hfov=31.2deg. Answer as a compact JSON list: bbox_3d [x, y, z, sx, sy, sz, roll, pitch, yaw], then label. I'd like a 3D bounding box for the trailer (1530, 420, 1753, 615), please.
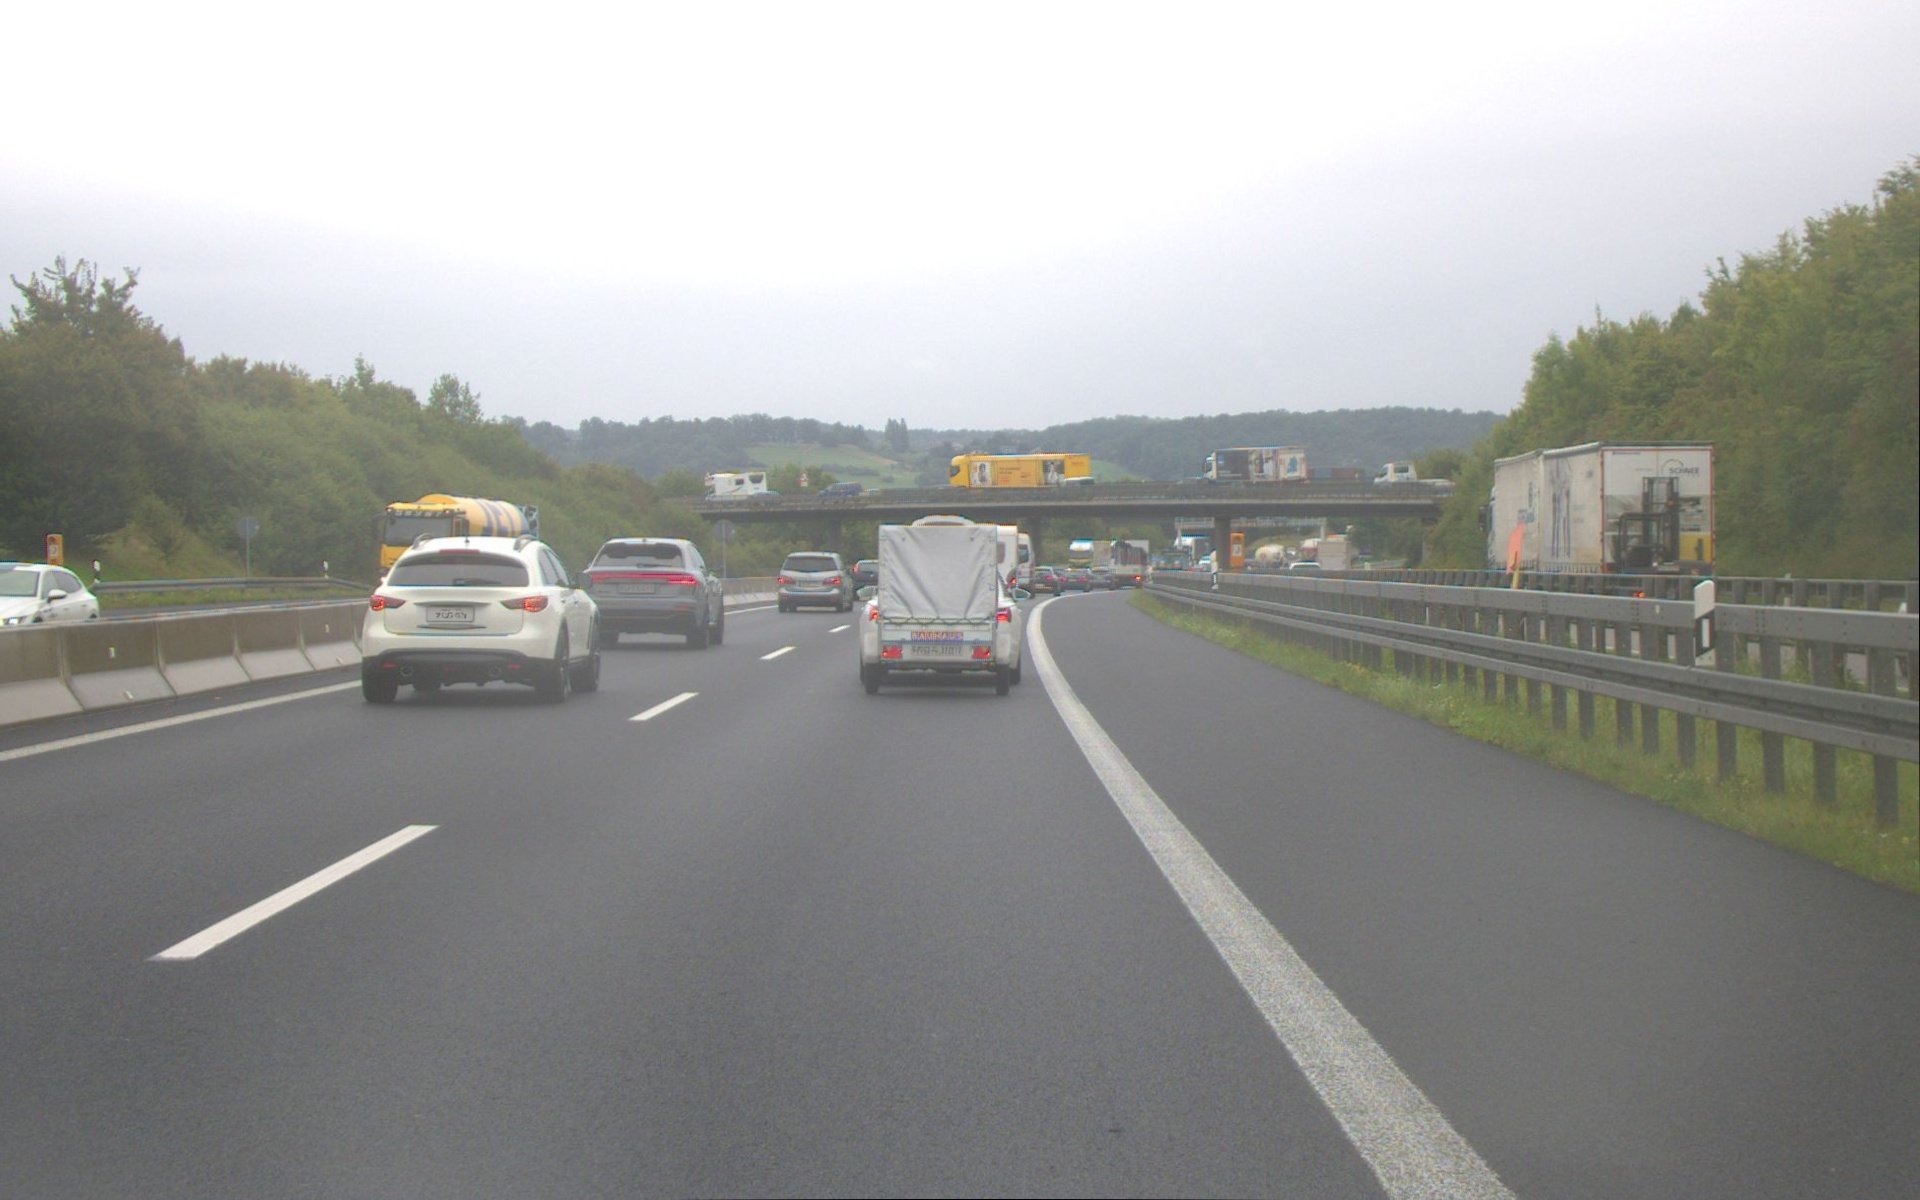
[{"bbox_3d":[15.843,-1.910,80.783,3.437,4.274,10.454,0,1,2],"label":"trailer"}]

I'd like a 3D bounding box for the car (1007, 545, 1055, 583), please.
[{"bbox_3d":[3.307,-1.685,161.095,1.993,1.744,4.000,1,1,-2],"label":"car"}]

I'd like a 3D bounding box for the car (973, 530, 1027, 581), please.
[{"bbox_3d":[1.639,-1.834,142.113,1.993,2.029,4.152,1,1,-2],"label":"car"}]

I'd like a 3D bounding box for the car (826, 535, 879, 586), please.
[{"bbox_3d":[-3.842,-1.429,123.454,1.841,1.813,4.000,0,1,-1],"label":"car"}]

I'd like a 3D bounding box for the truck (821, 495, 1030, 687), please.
[{"bbox_3d":[-0.285,-0.164,39.097,2.019,1.979,7.212,0,1,2],"label":"truck"}]

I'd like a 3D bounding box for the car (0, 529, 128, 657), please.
[{"bbox_3d":[-13.398,-0.140,47.995,2.180,1.690,4.864,0,1,3],"label":"car"}]

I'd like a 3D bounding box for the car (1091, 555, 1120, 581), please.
[{"bbox_3d":[10.188,-2.230,240.650,1.994,1.744,4.000,1,1,3],"label":"car"}]

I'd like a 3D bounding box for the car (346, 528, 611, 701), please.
[{"bbox_3d":[-4.783,0.105,34.781,1.976,1.633,4.501,0,1,1],"label":"car"}]

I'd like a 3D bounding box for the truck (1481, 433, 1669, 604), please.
[{"bbox_3d":[16.176,-2.144,91.225,3.437,4.274,10.418,0,1,2],"label":"truck"}]

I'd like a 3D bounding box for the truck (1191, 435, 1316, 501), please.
[{"bbox_3d":[22.421,-10.080,263.457,3.767,4.819,10.042,0,1,-37],"label":"truck"}]

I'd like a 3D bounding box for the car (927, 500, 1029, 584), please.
[{"bbox_3d":[0.614,-1.857,109.048,3.017,2.607,6.074,0,1,2],"label":"car"}]

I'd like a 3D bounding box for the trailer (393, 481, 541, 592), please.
[{"bbox_3d":[-16.008,-2.044,112.496,2.762,3.386,11.447,1,1,2],"label":"trailer"}]

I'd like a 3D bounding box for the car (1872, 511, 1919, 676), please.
[{"bbox_3d":[11.405,-0.058,37.027,1.860,1.799,4.648,0,1,-1],"label":"car"}]

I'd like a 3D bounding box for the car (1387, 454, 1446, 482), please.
[{"bbox_3d":[32.774,-9.450,246.812,1.837,1.908,3.999,1,1,-38],"label":"car"}]

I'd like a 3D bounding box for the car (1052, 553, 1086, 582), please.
[{"bbox_3d":[6.746,-2.012,213.091,1.993,1.744,4.000,1,1,2],"label":"car"}]

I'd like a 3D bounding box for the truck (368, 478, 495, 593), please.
[{"bbox_3d":[-16.240,-1.970,106.046,2.762,3.386,5.845,1,1,2],"label":"truck"}]

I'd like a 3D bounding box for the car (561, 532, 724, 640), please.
[{"bbox_3d":[-4.938,-0.244,54.113,2.174,1.626,4.501,0,1,0],"label":"car"}]

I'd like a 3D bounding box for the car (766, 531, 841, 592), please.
[{"bbox_3d":[-4.160,-1.047,91.922,1.900,1.607,4.017,0,1,-1],"label":"car"}]
